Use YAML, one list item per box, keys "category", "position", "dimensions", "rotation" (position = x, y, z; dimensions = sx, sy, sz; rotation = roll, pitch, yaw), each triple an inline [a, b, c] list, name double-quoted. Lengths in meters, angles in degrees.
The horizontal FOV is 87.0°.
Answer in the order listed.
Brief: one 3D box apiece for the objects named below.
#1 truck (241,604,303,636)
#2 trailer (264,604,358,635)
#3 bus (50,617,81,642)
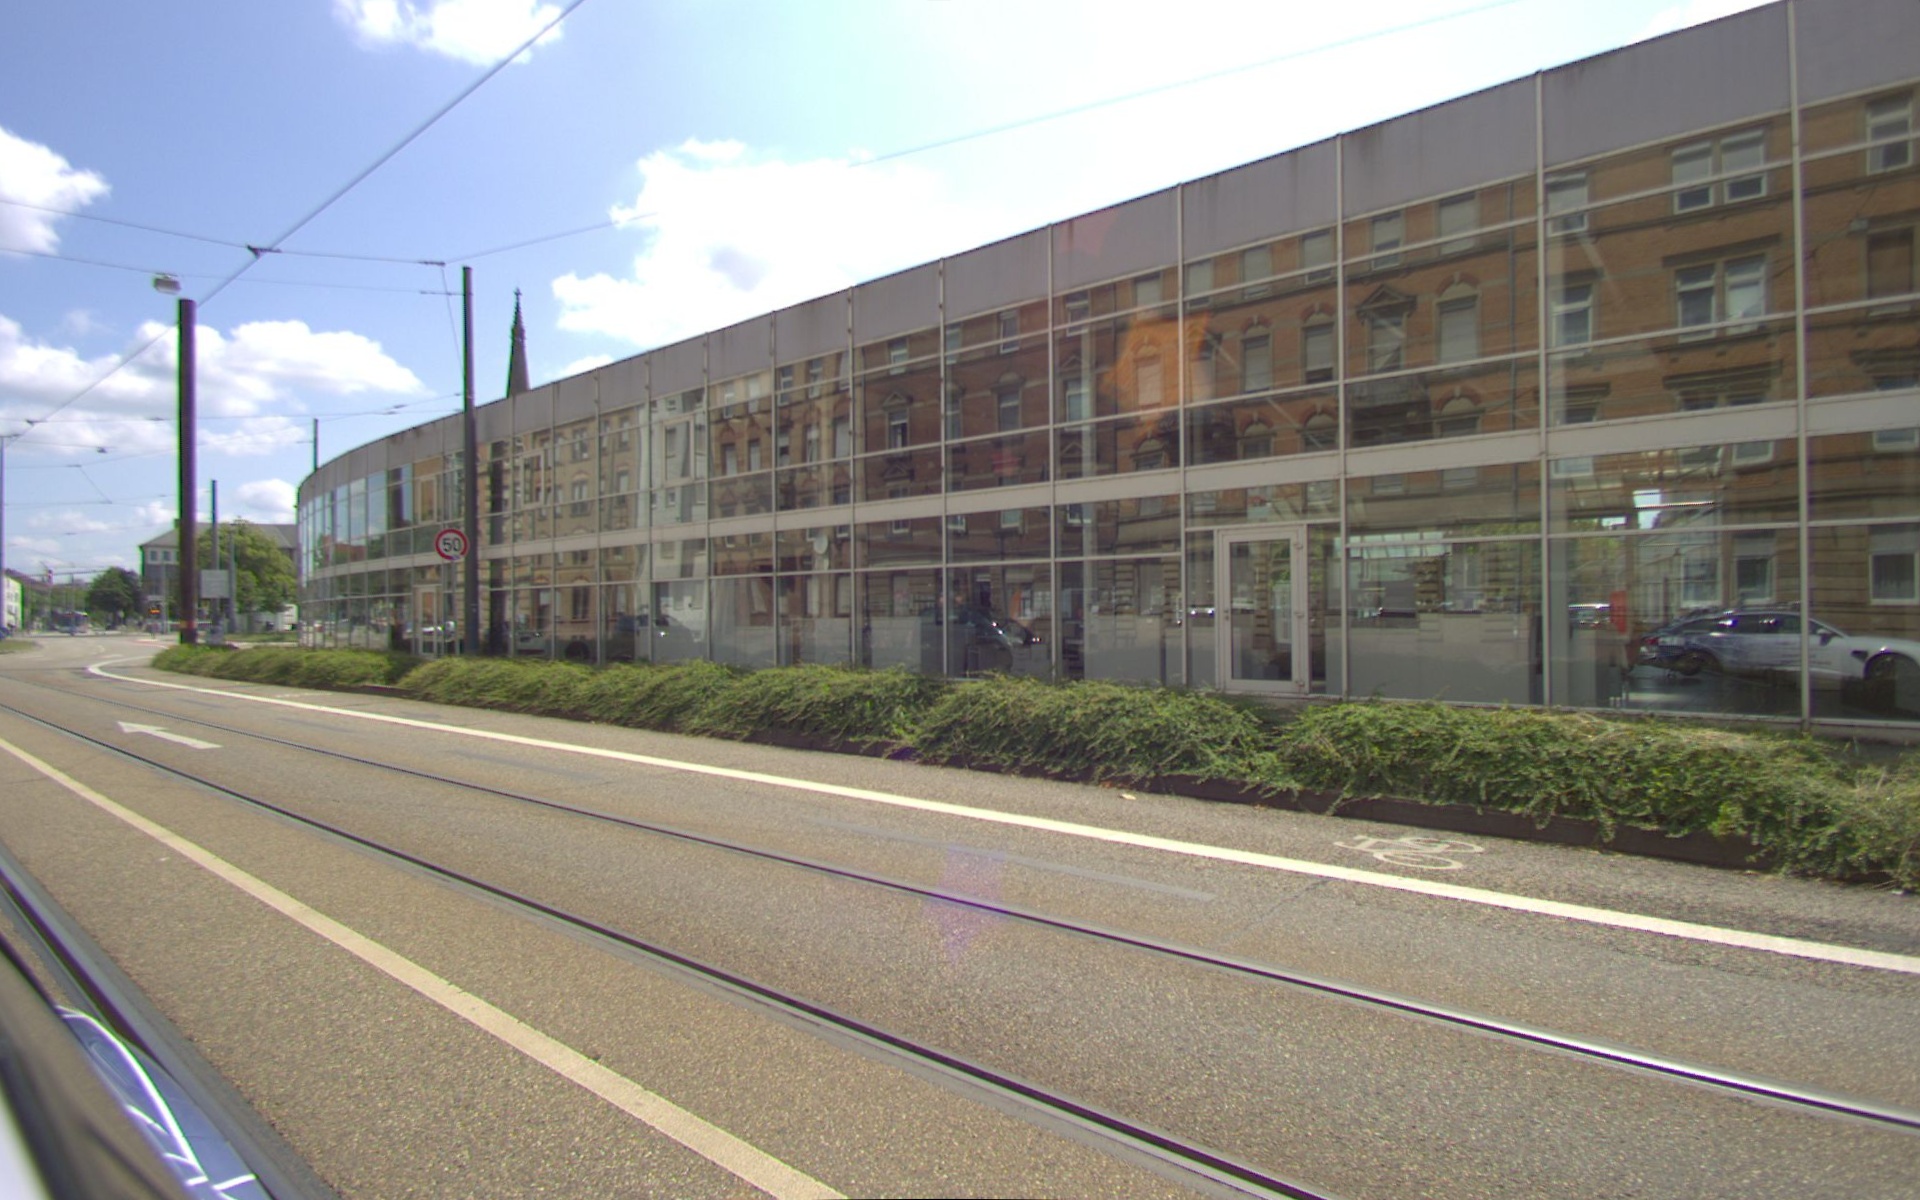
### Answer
- category: "truck"
  position: [-92.245, 2.628, 135.832]
  dimensions: [2.931, 4.150, 6.857]
  rotation: [-1, -1, 10]
- category: "trailer"
  position: [-91.128, 2.714, 142.599]
  dimensions: [2.916, 4.107, 13.379]
  rotation: [-1, -1, 9]
- category: "bus"
  position: [-127.500, 4.180, 144.326]
  dimensions: [2.905, 3.474, 7.963]
  rotation: [0, -2, -38]
